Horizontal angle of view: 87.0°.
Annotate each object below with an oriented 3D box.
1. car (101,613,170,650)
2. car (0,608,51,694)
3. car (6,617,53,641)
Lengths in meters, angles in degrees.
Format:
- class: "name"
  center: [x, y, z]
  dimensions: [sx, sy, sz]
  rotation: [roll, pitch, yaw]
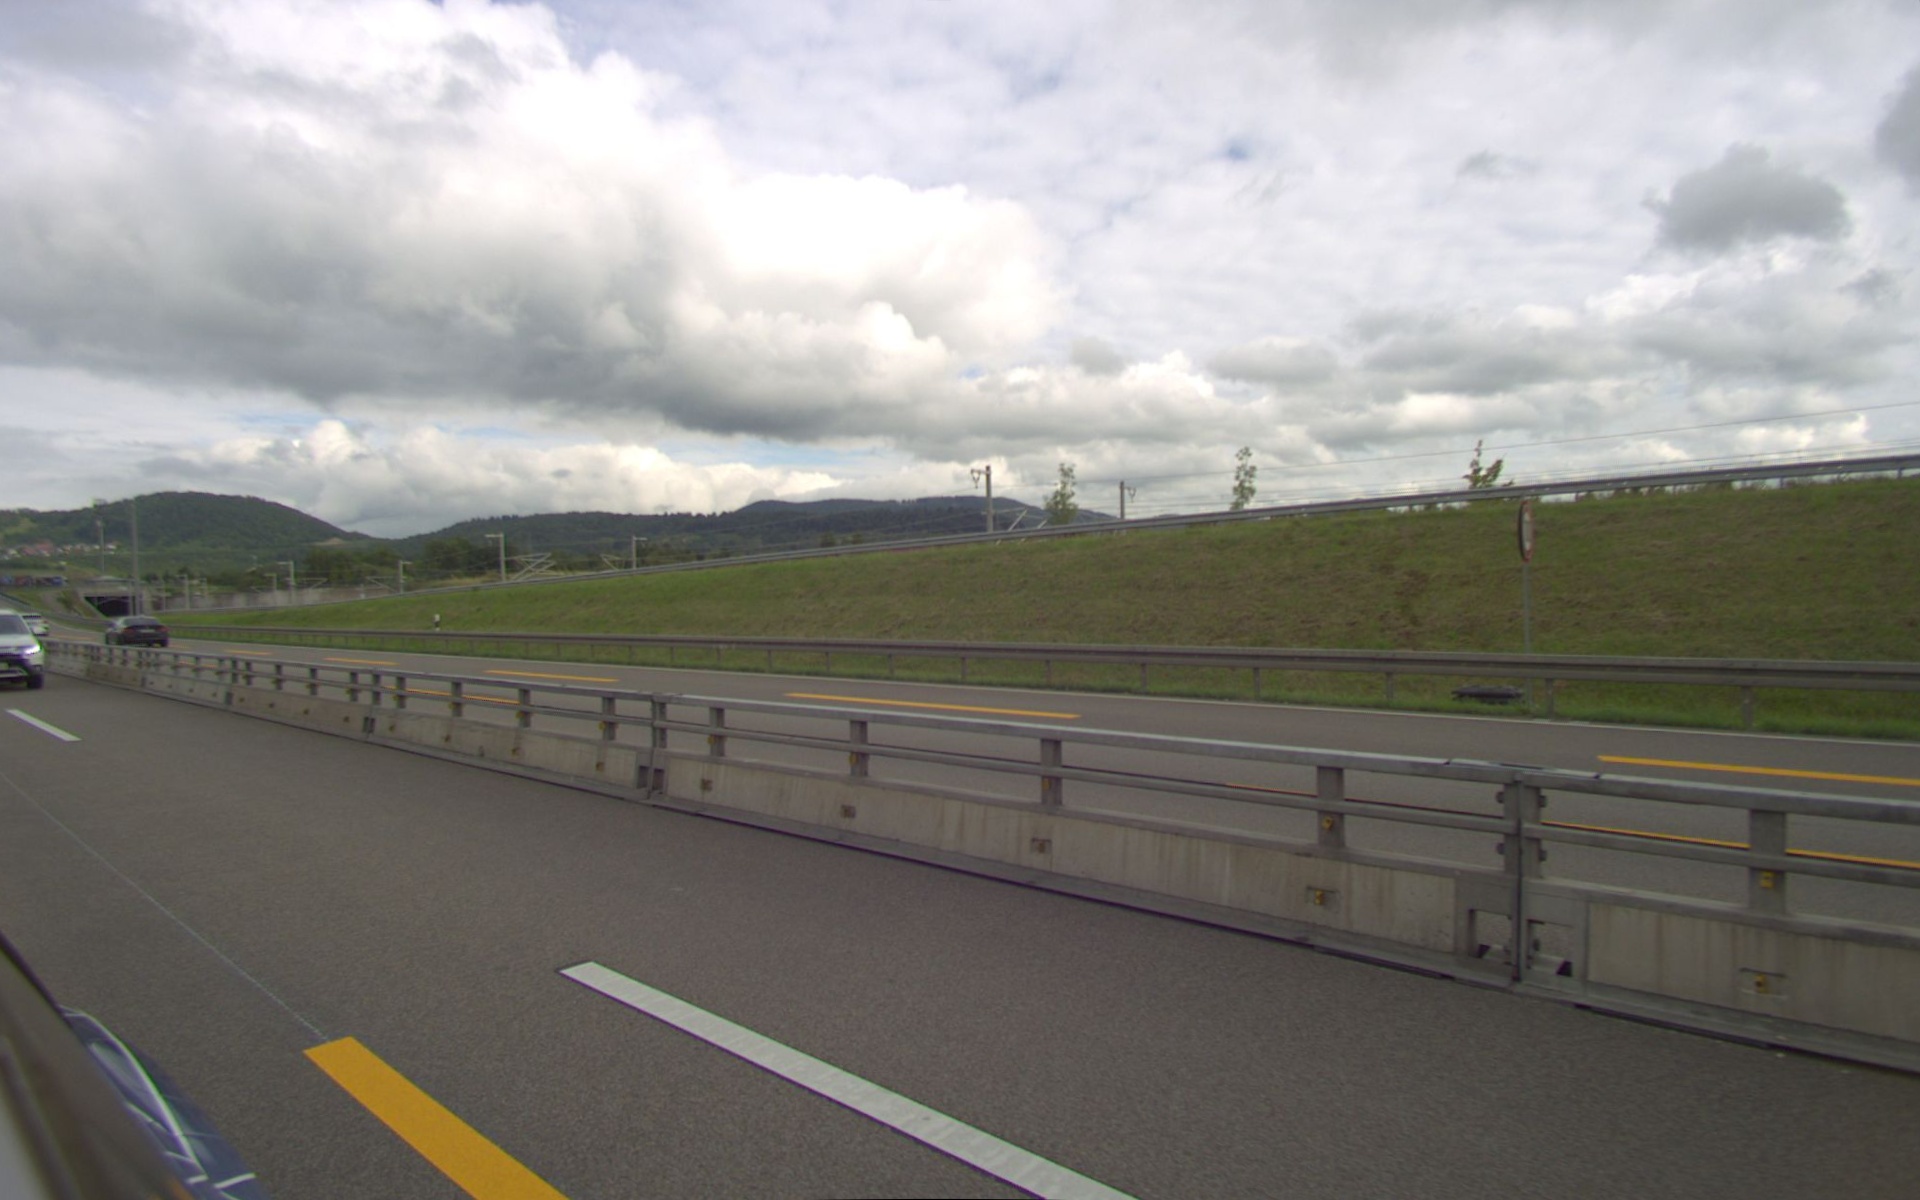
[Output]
- class: "car"
  center: [-37.151, 1.378, 45.546]
  dimensions: [4.134, 1.527, 1.769]
  rotation: [0, 0, 41]
- class: "car"
  center: [-20.299, 1.020, 20.768]
  dimensions: [4.606, 1.640, 1.972]
  rotation: [-1, -1, 42]
- class: "car"
  center: [-62.009, 1.891, 67.424]
  dimensions: [4.180, 1.537, 1.870]
  rotation: [-1, -1, 41]
